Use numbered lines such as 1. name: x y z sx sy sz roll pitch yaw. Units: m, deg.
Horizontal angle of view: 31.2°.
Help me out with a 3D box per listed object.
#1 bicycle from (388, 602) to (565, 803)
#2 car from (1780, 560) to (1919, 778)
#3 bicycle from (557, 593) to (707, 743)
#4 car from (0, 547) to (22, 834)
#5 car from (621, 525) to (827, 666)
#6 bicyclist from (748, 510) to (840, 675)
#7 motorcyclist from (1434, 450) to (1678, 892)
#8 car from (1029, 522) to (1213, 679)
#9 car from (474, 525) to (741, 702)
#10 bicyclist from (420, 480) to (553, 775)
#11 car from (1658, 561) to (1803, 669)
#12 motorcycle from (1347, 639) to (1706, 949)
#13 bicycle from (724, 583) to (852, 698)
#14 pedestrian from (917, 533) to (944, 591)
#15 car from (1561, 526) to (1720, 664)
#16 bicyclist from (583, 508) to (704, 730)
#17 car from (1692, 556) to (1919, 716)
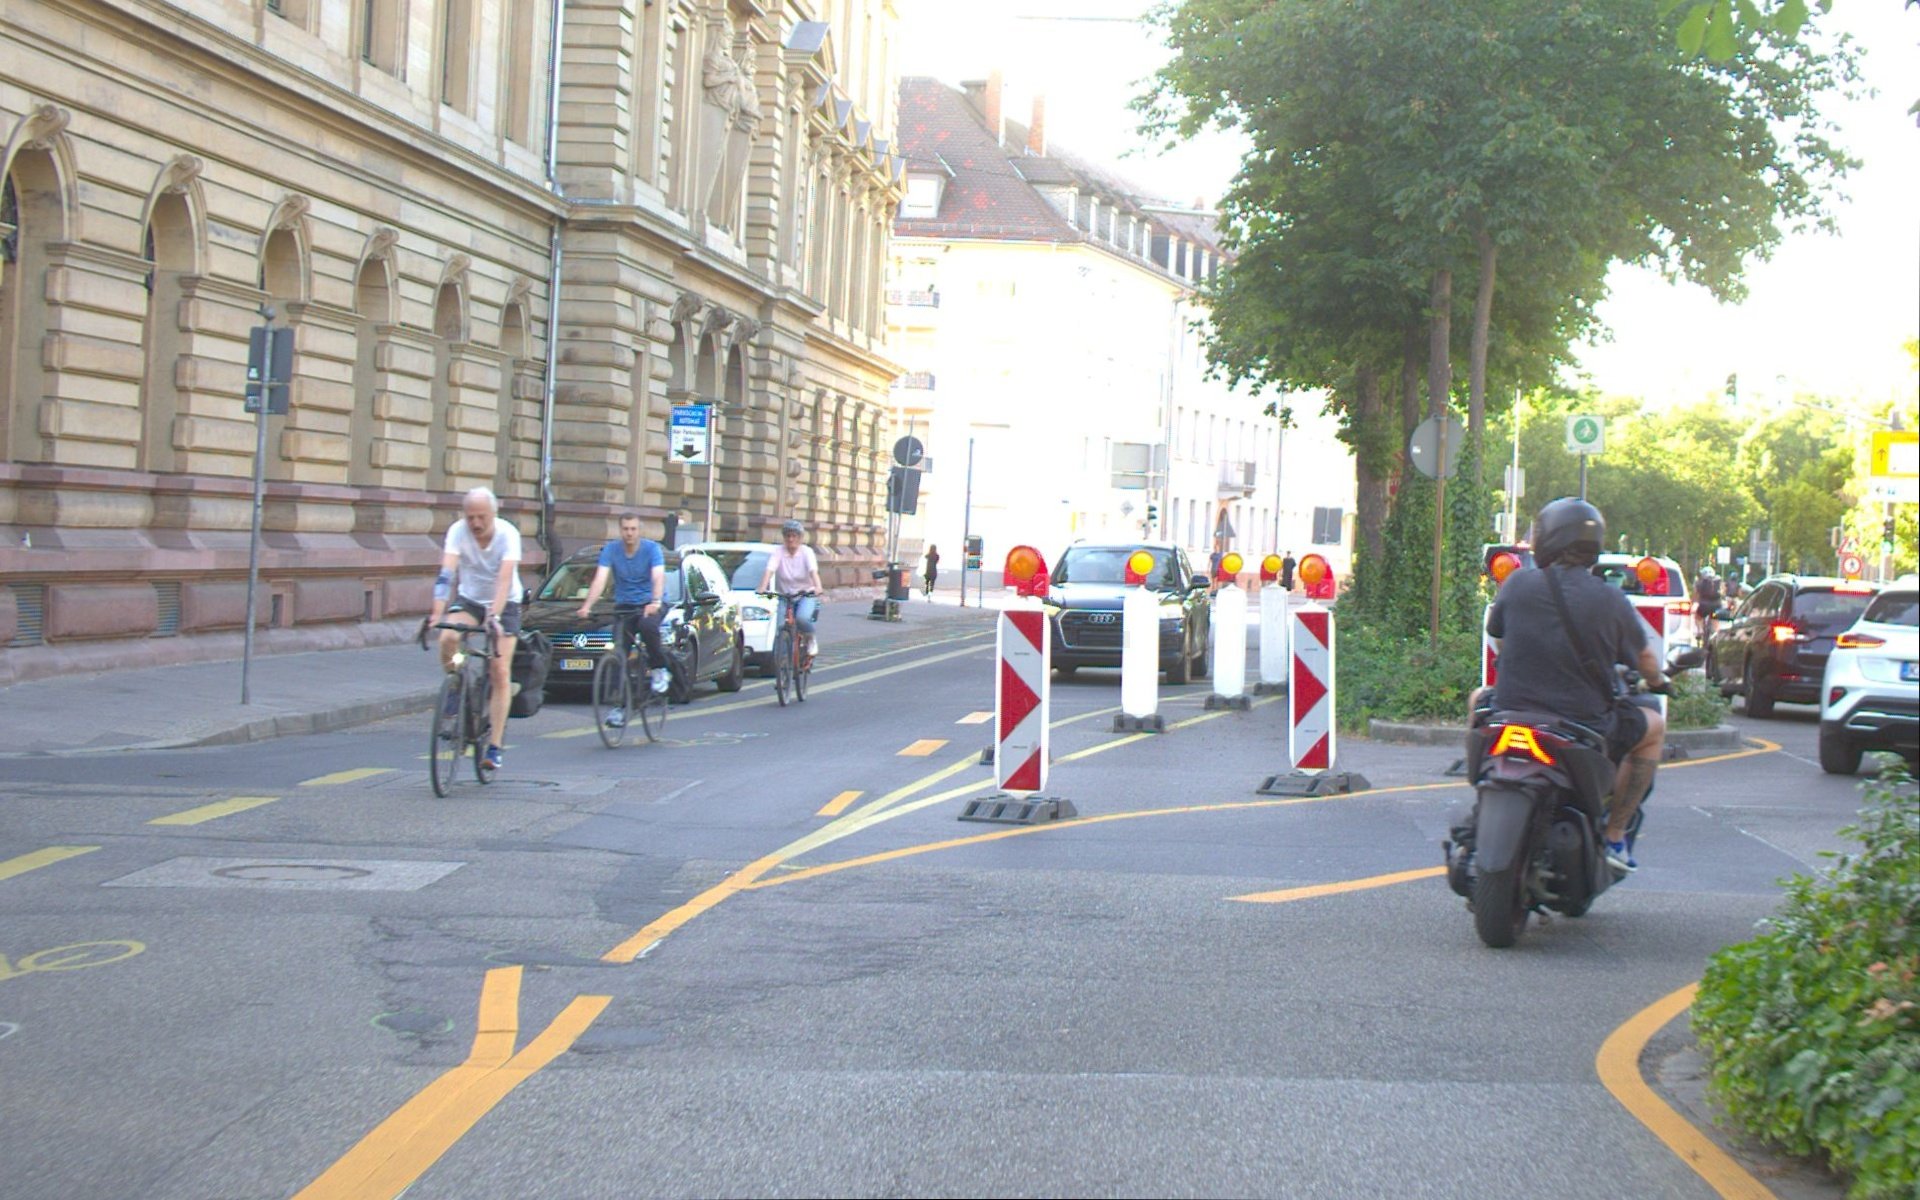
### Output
1. bicycle: -2.767 0.564 19.875 0.583 1.031 2.129 2 1 3
2. car: 7.487 0.465 25.844 1.853 1.475 4.052 1 1 24
3. bicycle: -2.422 0.484 25.590 0.533 1.031 1.906 2 1 12
4. car: -6.839 0.395 16.174 4.315 1.385 1.775 2 1 7
5. car: -2.729 -0.094 40.706 1.993 1.523 4.184 2 1 2
6. bicyclist: -1.596 -0.077 33.115 0.629 1.548 0.731 2 1 18
7. motorcyclist: 2.333 0.266 13.440 0.658 1.645 0.649 4 1 30
8. car: 1.851 -0.042 40.291 1.993 1.689 4.399 2 1 2
9. car: -3.343 0.077 33.396 1.993 1.561 4.289 2 1 2
10. bicyclist: -2.742 0.150 19.958 0.566 1.661 0.834 2 1 4
11. car: 13.369 0.221 59.856 1.840 1.693 4.057 4 1 5
12. motorcycle: 2.216 0.707 13.269 0.798 1.062 1.722 4 1 28
13. bicycle: -1.643 0.372 33.170 0.533 1.031 2.034 2 1 17
14. pedestrian: -0.795 -1.023 92.871 0.665 1.548 0.649 2 1 2
15. car: 10.301 -0.106 52.314 1.840 1.906 4.057 4 1 5
16. bicyclist: -2.350 0.132 25.619 0.628 1.608 0.869 2 1 12
17. car: 8.853 0.327 35.722 1.840 1.458 4.057 4 1 4
